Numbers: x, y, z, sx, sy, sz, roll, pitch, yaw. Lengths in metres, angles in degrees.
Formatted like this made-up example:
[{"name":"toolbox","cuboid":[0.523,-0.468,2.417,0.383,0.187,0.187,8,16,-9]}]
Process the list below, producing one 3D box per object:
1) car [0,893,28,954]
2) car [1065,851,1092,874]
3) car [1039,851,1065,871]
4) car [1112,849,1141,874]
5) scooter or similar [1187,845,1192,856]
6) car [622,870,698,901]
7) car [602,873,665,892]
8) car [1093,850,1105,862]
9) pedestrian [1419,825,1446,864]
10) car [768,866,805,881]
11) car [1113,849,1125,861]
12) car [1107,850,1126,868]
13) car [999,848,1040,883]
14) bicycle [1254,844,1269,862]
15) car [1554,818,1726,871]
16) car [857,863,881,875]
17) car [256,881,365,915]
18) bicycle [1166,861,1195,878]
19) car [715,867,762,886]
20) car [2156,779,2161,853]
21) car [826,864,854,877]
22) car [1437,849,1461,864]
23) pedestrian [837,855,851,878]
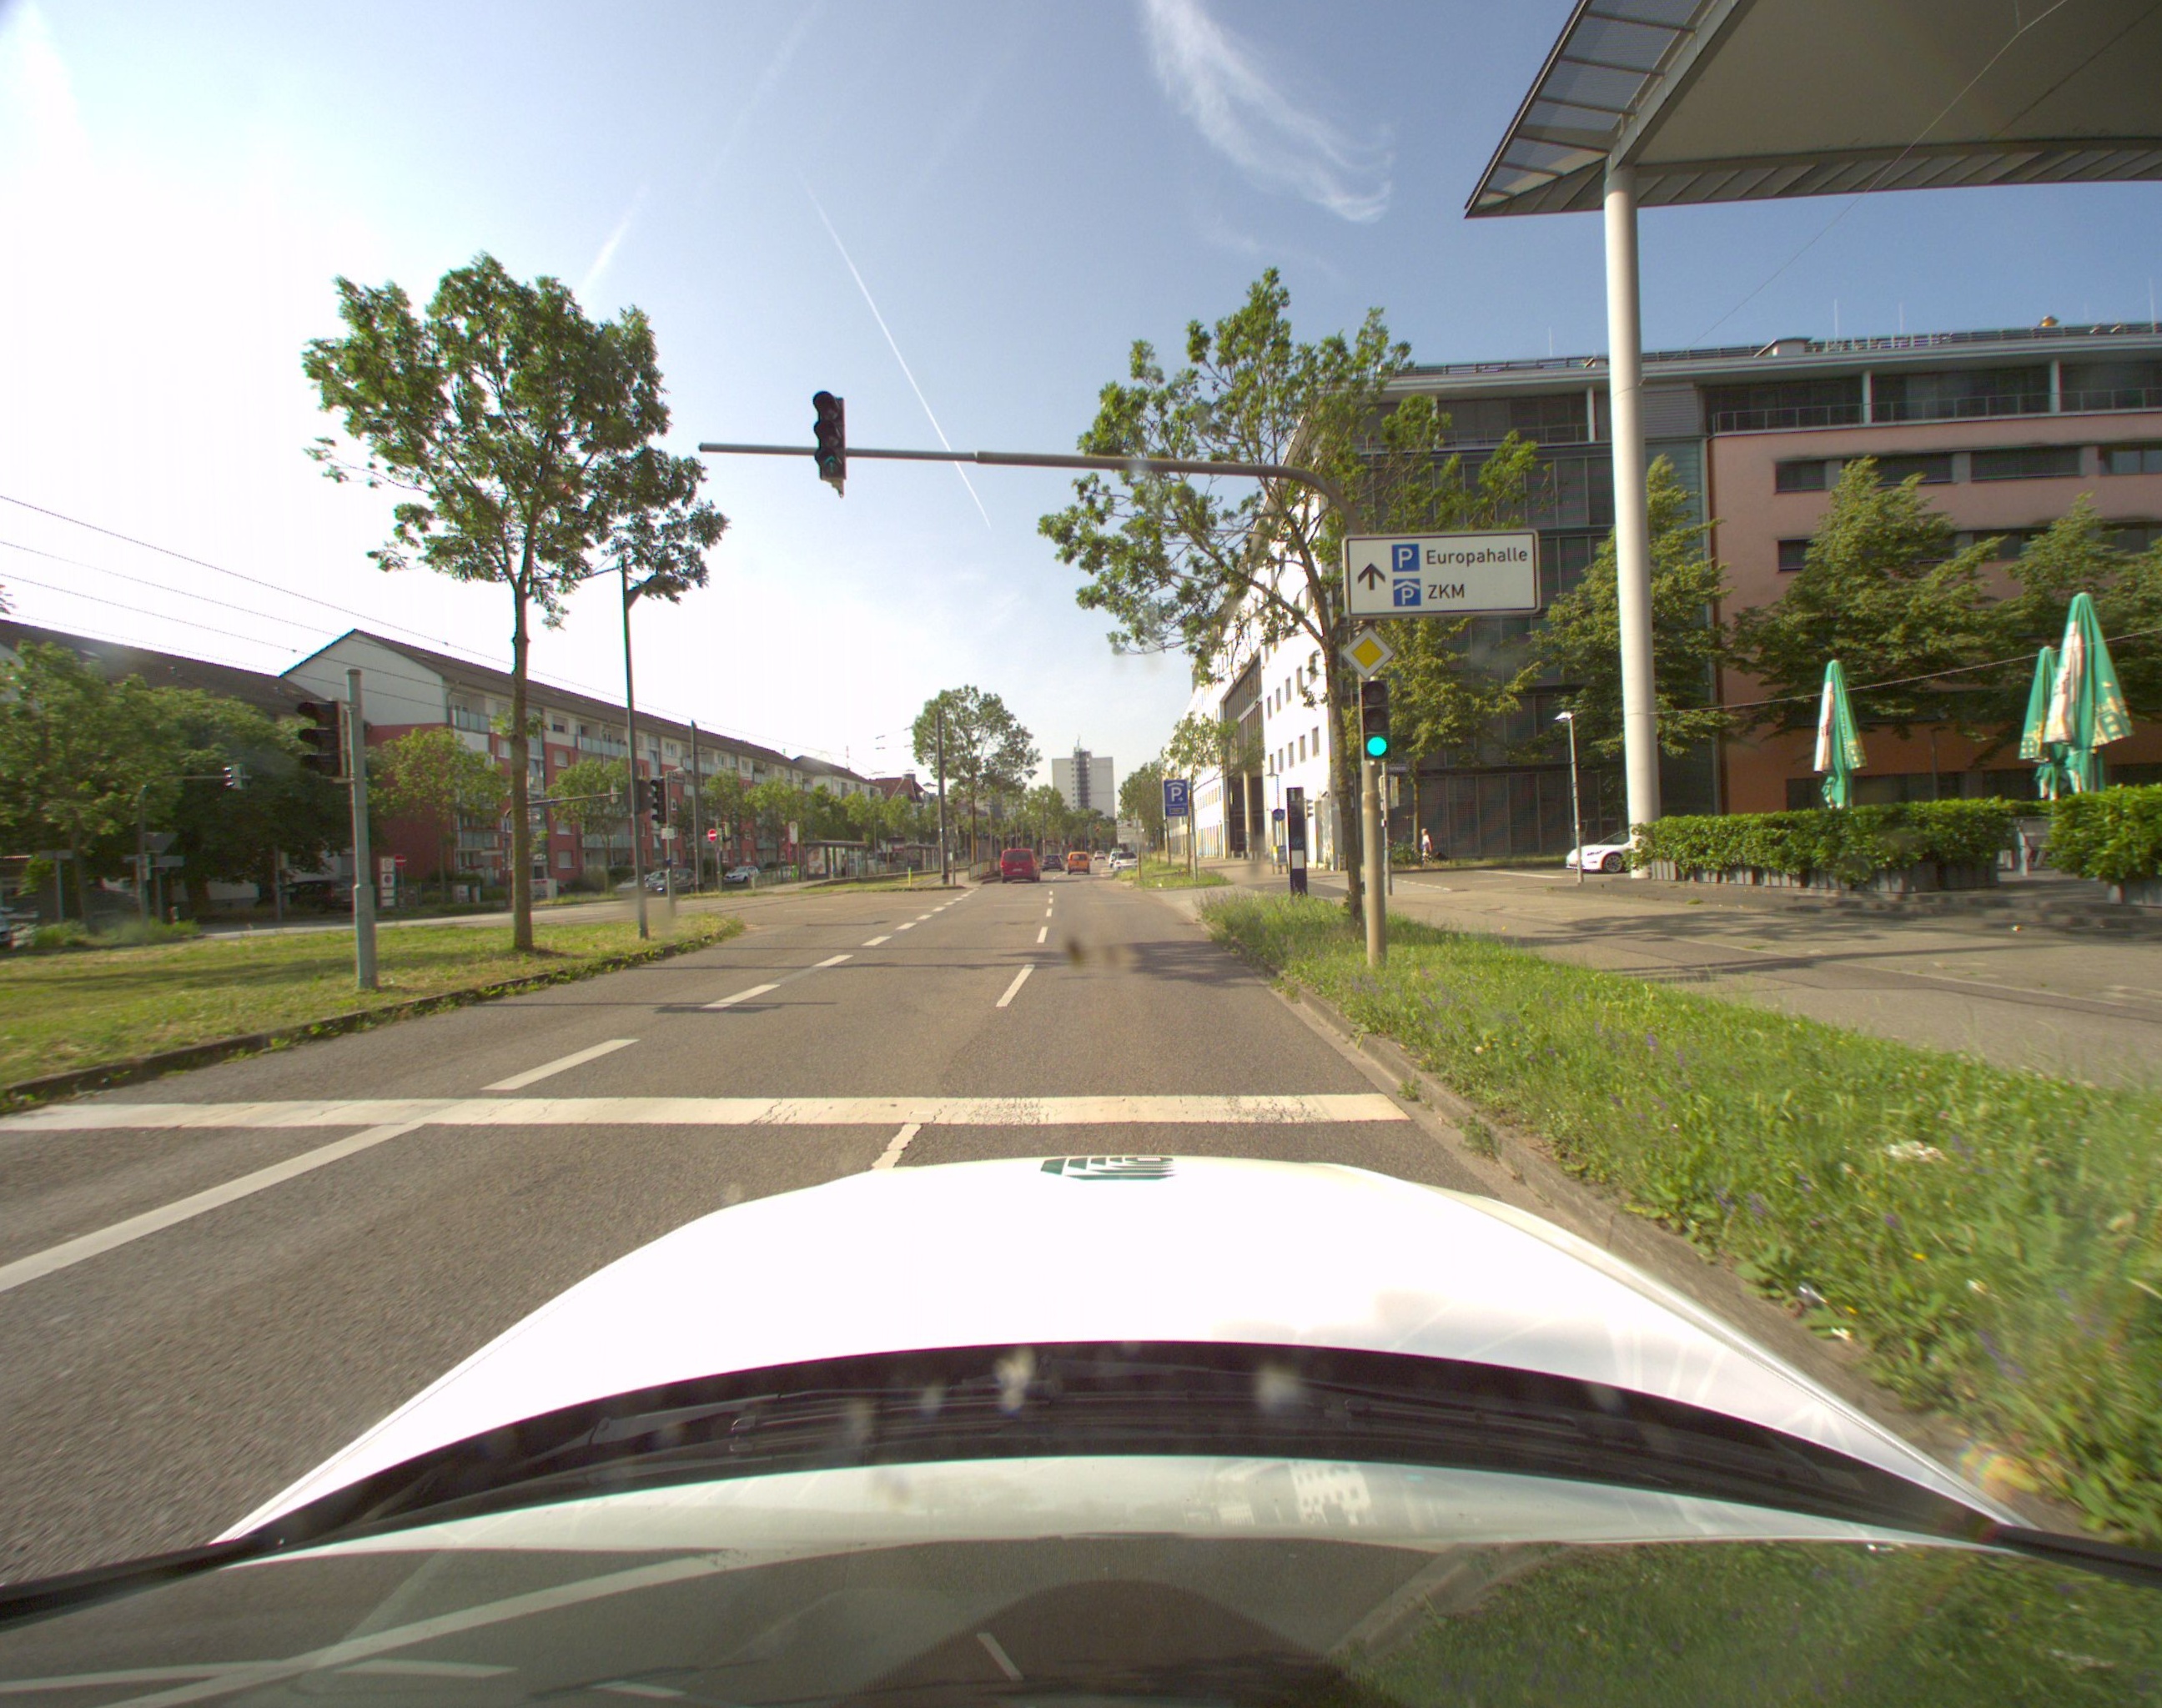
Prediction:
[{"name":"car","cuboid":[-29.425,1.825,21.396,4.297,1.463,1.976,-1,0,35]},{"name":"car","cuboid":[-0.163,0.616,62.769,1.868,1.696,3.976,-2,0,3]},{"name":"car","cuboid":[-2.592,0.629,73.214,1.986,1.706,4.002,-2,0,2]},{"name":"car","cuboid":[2.900,0.477,52.552,1.714,1.519,3.782,-2,0,1]},{"name":"scooter or similar","cuboid":[12.619,-0.370,94.680,0.460,1.213,1.257,-4,0,8]},{"name":"car","cuboid":[-26.049,1.914,50.616,1.985,1.706,4.717,-2,0,3]},{"name":"car","cuboid":[-30.120,1.884,54.957,1.826,1.147,4.166,-1,0,2]},{"name":"car","cuboid":[3.070,0.302,141.705,1.986,2.013,4.001,-2,0,1]},{"name":"pedestrian","cuboid":[14.987,-0.383,34.707,0.774,1.616,0.713,-2,0,0]},{"name":"car","cuboid":[-29.113,1.920,80.621,1.973,1.360,4.071,-1,0,2]},{"name":"car","cuboid":[6.648,0.155,142.584,1.986,2.013,4.002,-2,0,2]},{"name":"car","cuboid":[3.405,0.475,78.658,1.682,1.526,3.853,-4,0,2]},{"name":"car","cuboid":[-3.384,0.616,45.688,1.868,1.853,4.001,-2,0,1]},{"name":"bicycle","cuboid":[11.241,-0.061,50.789,0.492,1.086,1.549,-4,0,0]},{"name":"car","cuboid":[18.244,-0.307,26.725,4.304,1.465,1.902,-3,1,1]},{"name":"car","cuboid":[-27.647,1.951,106.261,1.973,1.513,4.282,-1,0,2]},{"name":"car","cuboid":[-40.847,2.316,43.243,3.970,1.695,2.002,-1,0,3]},{"name":"bicycle","cuboid":[4.714,0.732,38.412,1.263,0.632,0.522,-9,-1,9]},{"name":"car","cuboid":[-29.715,1.909,70.827,1.973,1.556,4.539,-1,0,2]},{"name":"car","cuboid":[31.898,-1.154,21.019,4.850,2.013,2.076,-3,-1,10]},{"name":"car","cuboid":[-28.204,1.938,95.561,1.973,1.360,4.071,-1,0,2]},{"name":"car","cuboid":[15.778,0.100,34.923,0.763,0.587,0.498,-2,0,-1]},{"name":"pedestrian","cuboid":[-17.146,0.893,58.932,0.670,1.653,0.794,-2,0,-2]}]
